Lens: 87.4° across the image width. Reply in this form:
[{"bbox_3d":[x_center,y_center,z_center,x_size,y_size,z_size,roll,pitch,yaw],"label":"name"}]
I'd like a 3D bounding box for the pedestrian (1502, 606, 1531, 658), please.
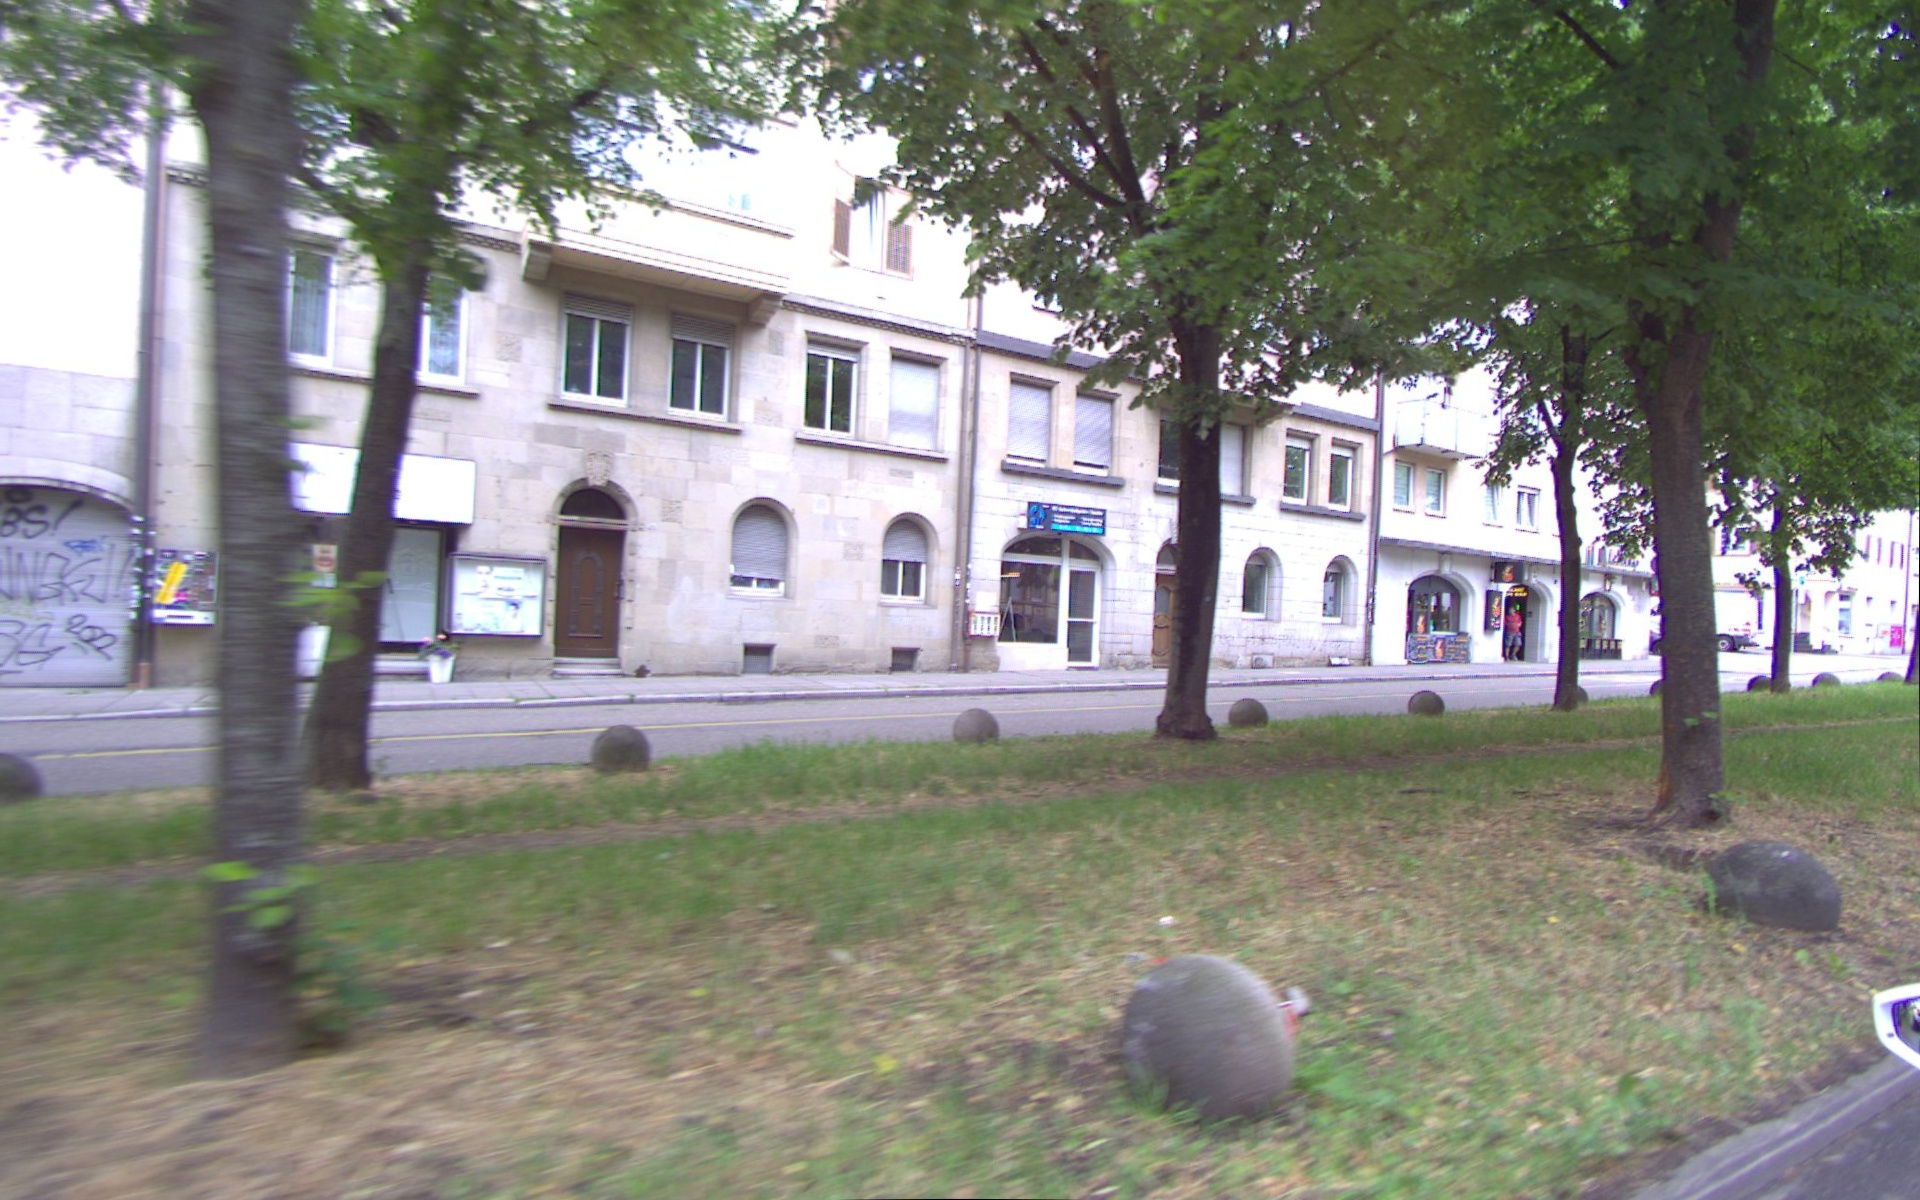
[{"bbox_3d":[18.337,1.060,33.120,0.693,1.688,0.529,1,0,-32],"label":"pedestrian"}]

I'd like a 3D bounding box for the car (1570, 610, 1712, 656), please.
[{"bbox_3d":[27.455,1.293,40.651,2.024,1.439,4.265,1,3,-31],"label":"car"}]

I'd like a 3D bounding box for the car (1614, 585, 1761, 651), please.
[{"bbox_3d":[33.800,0.772,46.798,2.160,2.773,5.126,1,1,-41],"label":"car"}]
